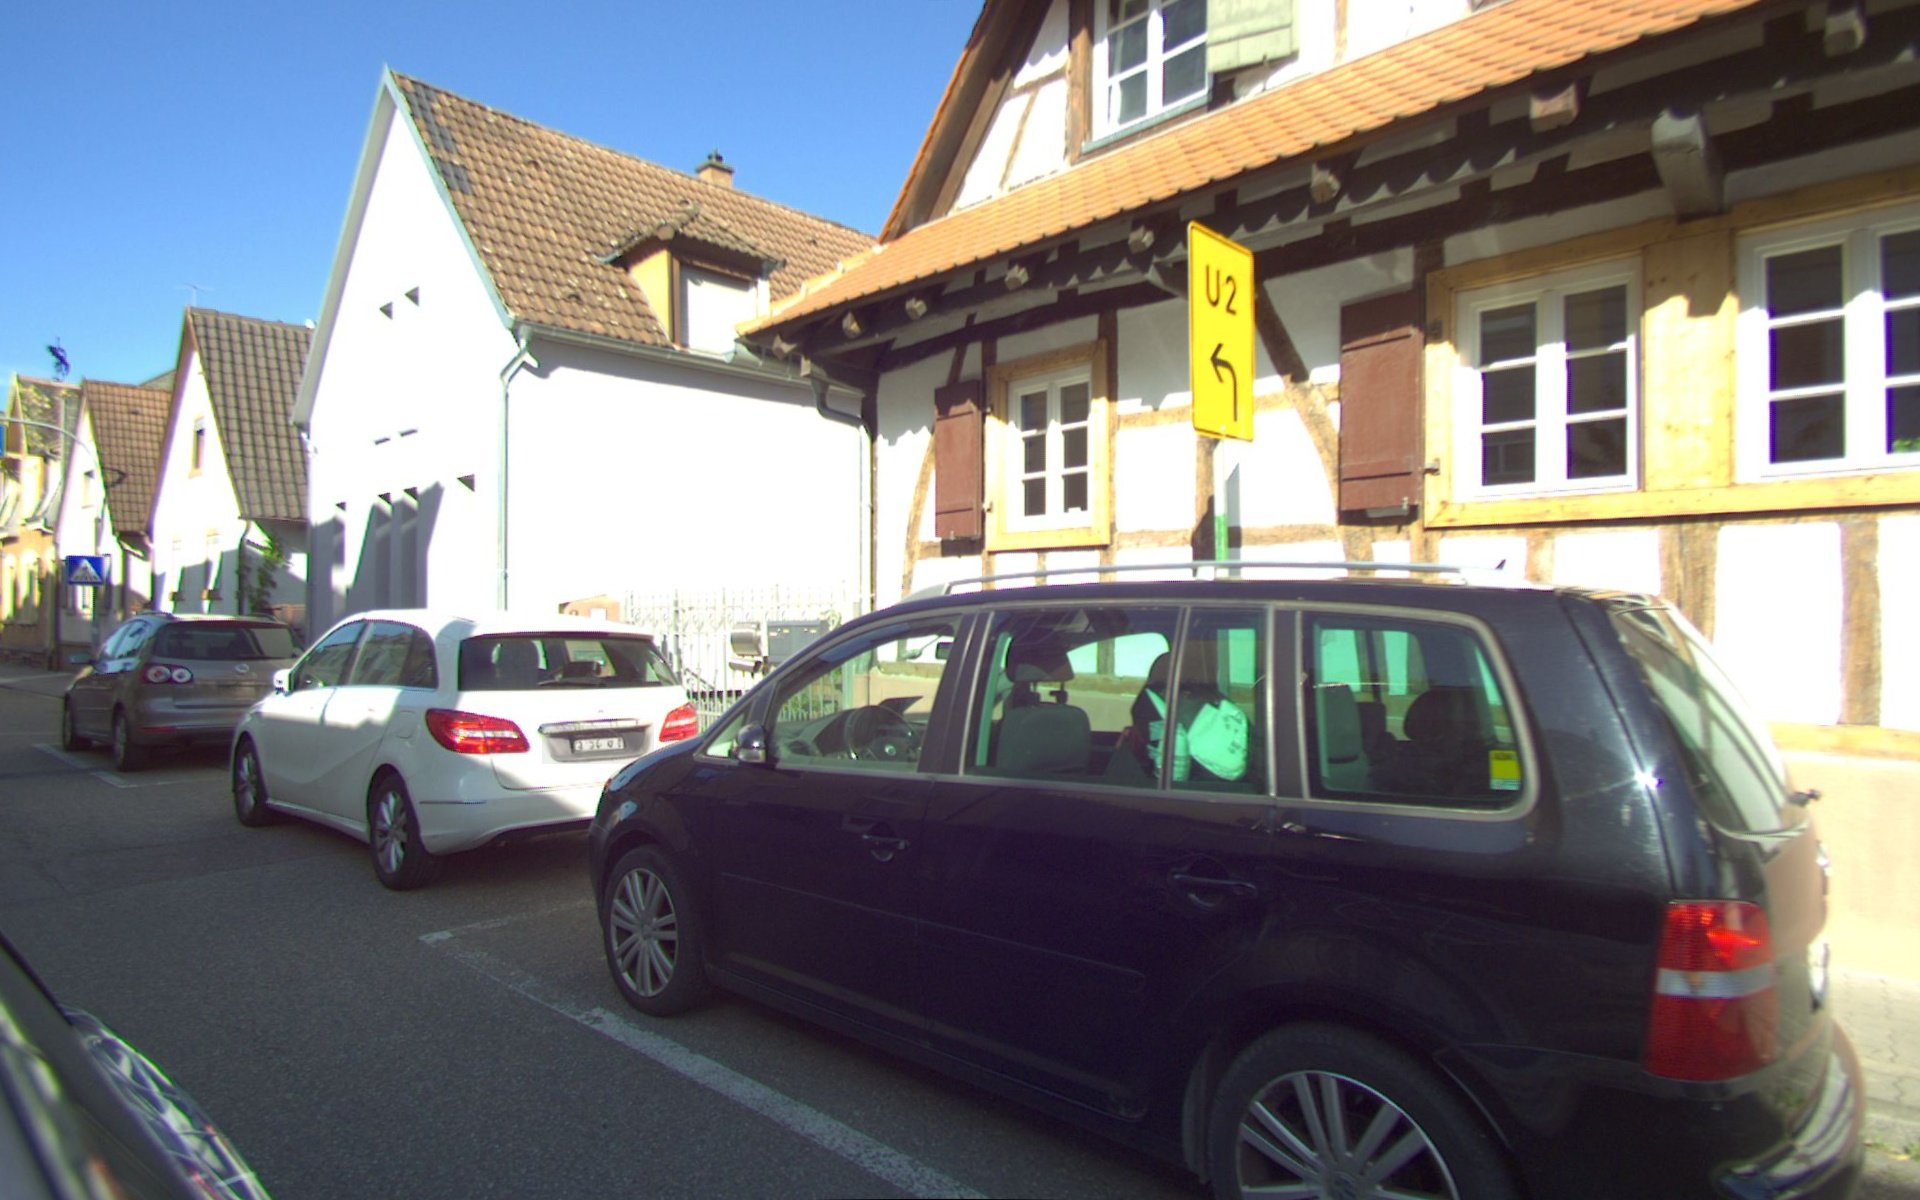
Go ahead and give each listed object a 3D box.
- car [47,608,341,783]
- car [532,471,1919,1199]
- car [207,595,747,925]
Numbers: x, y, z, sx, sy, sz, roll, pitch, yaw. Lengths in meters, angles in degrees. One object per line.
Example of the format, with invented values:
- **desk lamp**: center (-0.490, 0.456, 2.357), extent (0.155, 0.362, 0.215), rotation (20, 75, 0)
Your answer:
- **car**: center (-8.690, 0.923, 11.371), extent (3.996, 1.626, 1.725), rotation (-1, -2, 39)
- **car**: center (0.420, 0.672, 3.441), extent (4.360, 1.617, 1.765), rotation (-1, -2, 42)
- **car**: center (-3.472, 0.799, 6.907), extent (4.165, 1.578, 1.797), rotation (-1, -2, 41)
